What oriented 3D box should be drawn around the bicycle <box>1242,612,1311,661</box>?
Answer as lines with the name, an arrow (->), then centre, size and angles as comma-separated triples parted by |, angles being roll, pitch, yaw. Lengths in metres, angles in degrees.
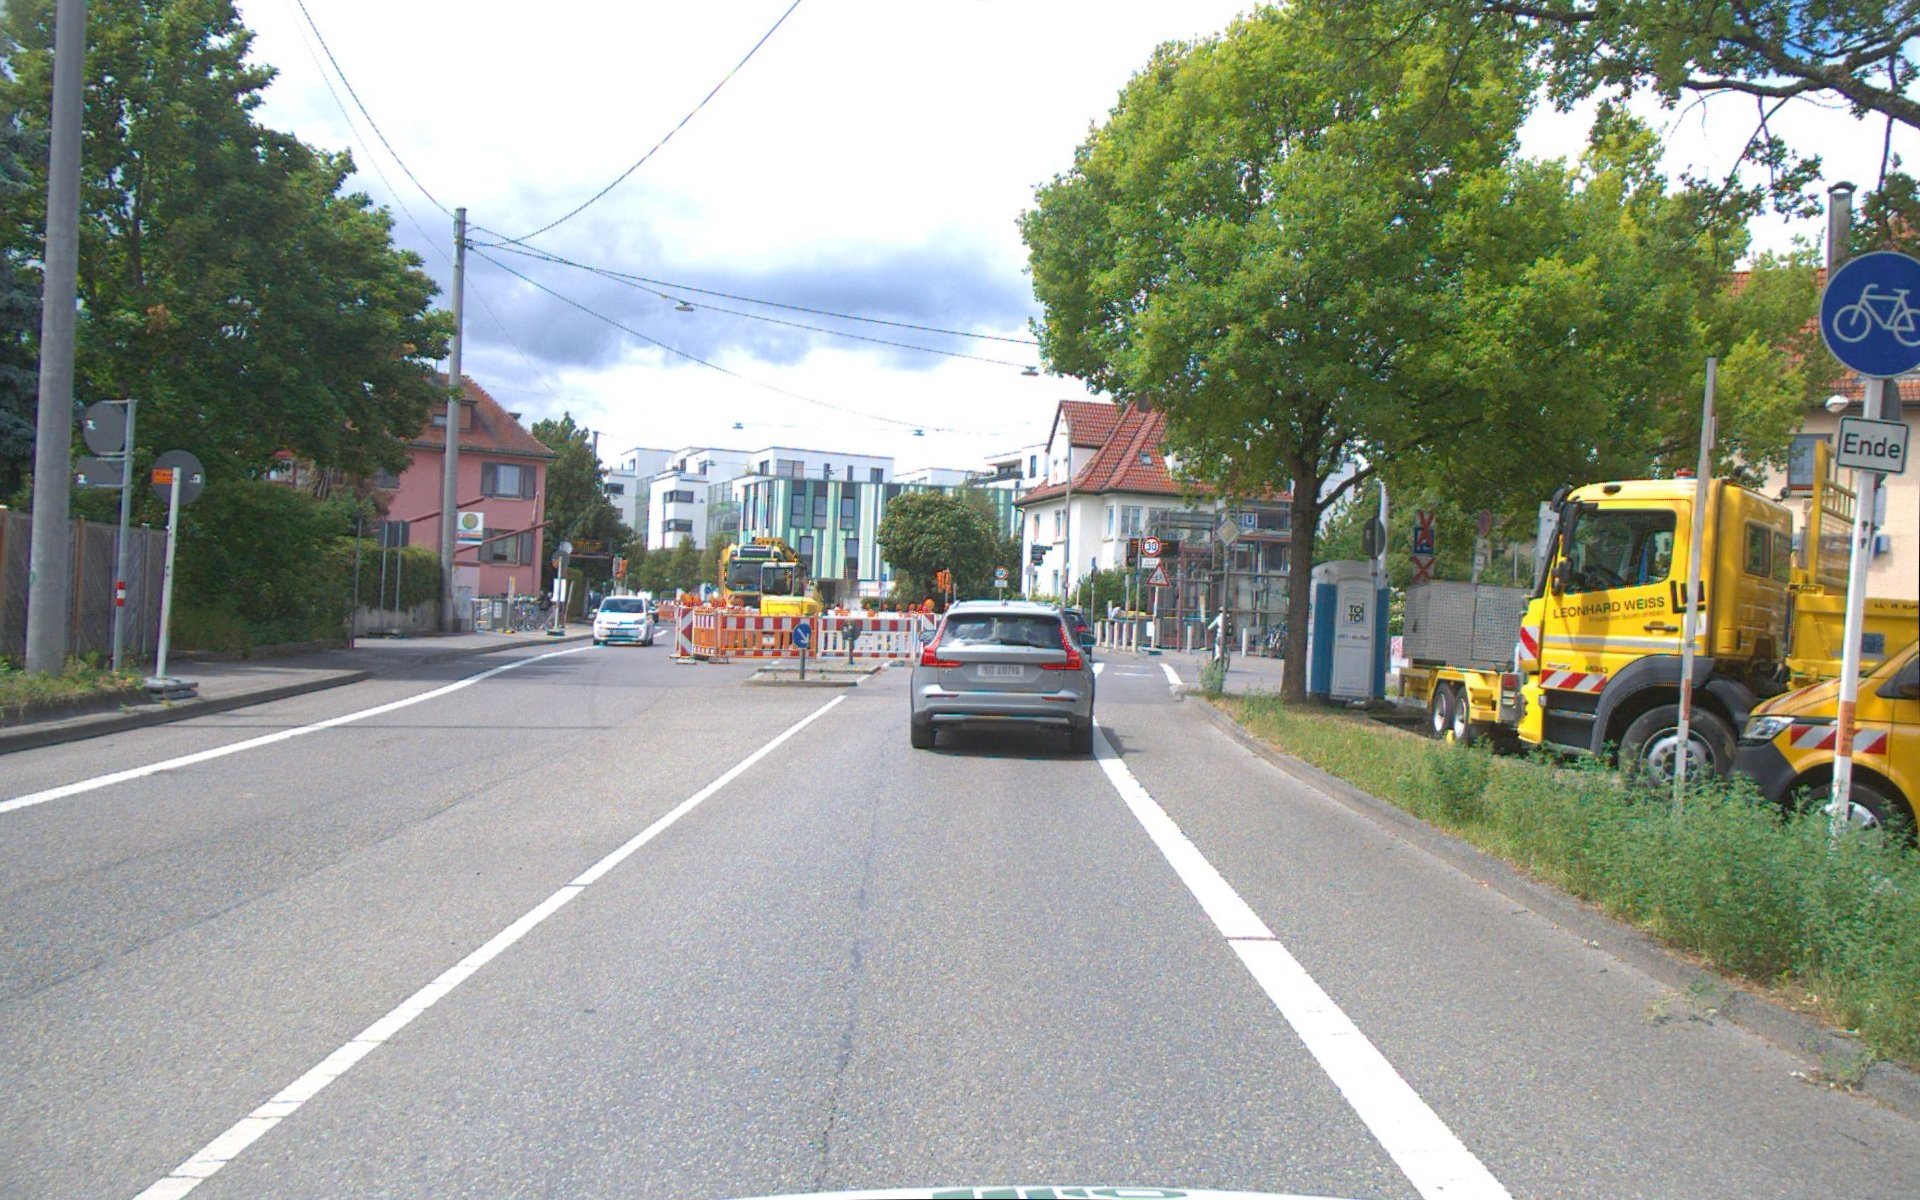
bicycle -> 9.786, 1.102, 51.341 | 1.363, 1.210, 3.472 | 5, 2, 0

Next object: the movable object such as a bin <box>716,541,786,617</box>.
movable object such as a bin -> -9.085, -0.888, 71.299 | 2.271, 3.042, 6.405 | 2, 0, -13

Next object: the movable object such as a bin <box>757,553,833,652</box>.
movable object such as a bin -> -4.852, 0.063, 49.075 | 1.995, 2.689, 5.933 | 2, 0, -5

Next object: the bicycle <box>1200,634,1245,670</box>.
bicycle -> 6.768, 1.332, 42.691 | 0.583, 0.826, 1.750 | 5, -1, -8

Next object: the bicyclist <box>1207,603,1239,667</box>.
bicyclist -> 6.799, 0.900, 42.756 | 0.578, 1.586, 0.565 | 5, -2, -8

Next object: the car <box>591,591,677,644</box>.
car -> -9.897, 0.562, 50.464 | 1.849, 1.534, 3.999 | 0, -2, -1

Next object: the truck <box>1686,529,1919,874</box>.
truck -> 7.479, 0.749, 9.581 | 5.583, 2.048, 1.986 | 3, -2, 44

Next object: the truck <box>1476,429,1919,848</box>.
truck -> 7.900, 0.377, 13.115 | 6.585, 3.060, 2.755 | 3, -2, 41

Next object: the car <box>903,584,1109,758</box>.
car -> 0.549, 0.671, 17.518 | 1.887, 1.567, 4.002 | 2, 0, 3

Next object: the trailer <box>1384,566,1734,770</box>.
trailer -> 7.200, 0.764, 20.677 | 2.340, 2.067, 5.512 | 3, -1, 1
